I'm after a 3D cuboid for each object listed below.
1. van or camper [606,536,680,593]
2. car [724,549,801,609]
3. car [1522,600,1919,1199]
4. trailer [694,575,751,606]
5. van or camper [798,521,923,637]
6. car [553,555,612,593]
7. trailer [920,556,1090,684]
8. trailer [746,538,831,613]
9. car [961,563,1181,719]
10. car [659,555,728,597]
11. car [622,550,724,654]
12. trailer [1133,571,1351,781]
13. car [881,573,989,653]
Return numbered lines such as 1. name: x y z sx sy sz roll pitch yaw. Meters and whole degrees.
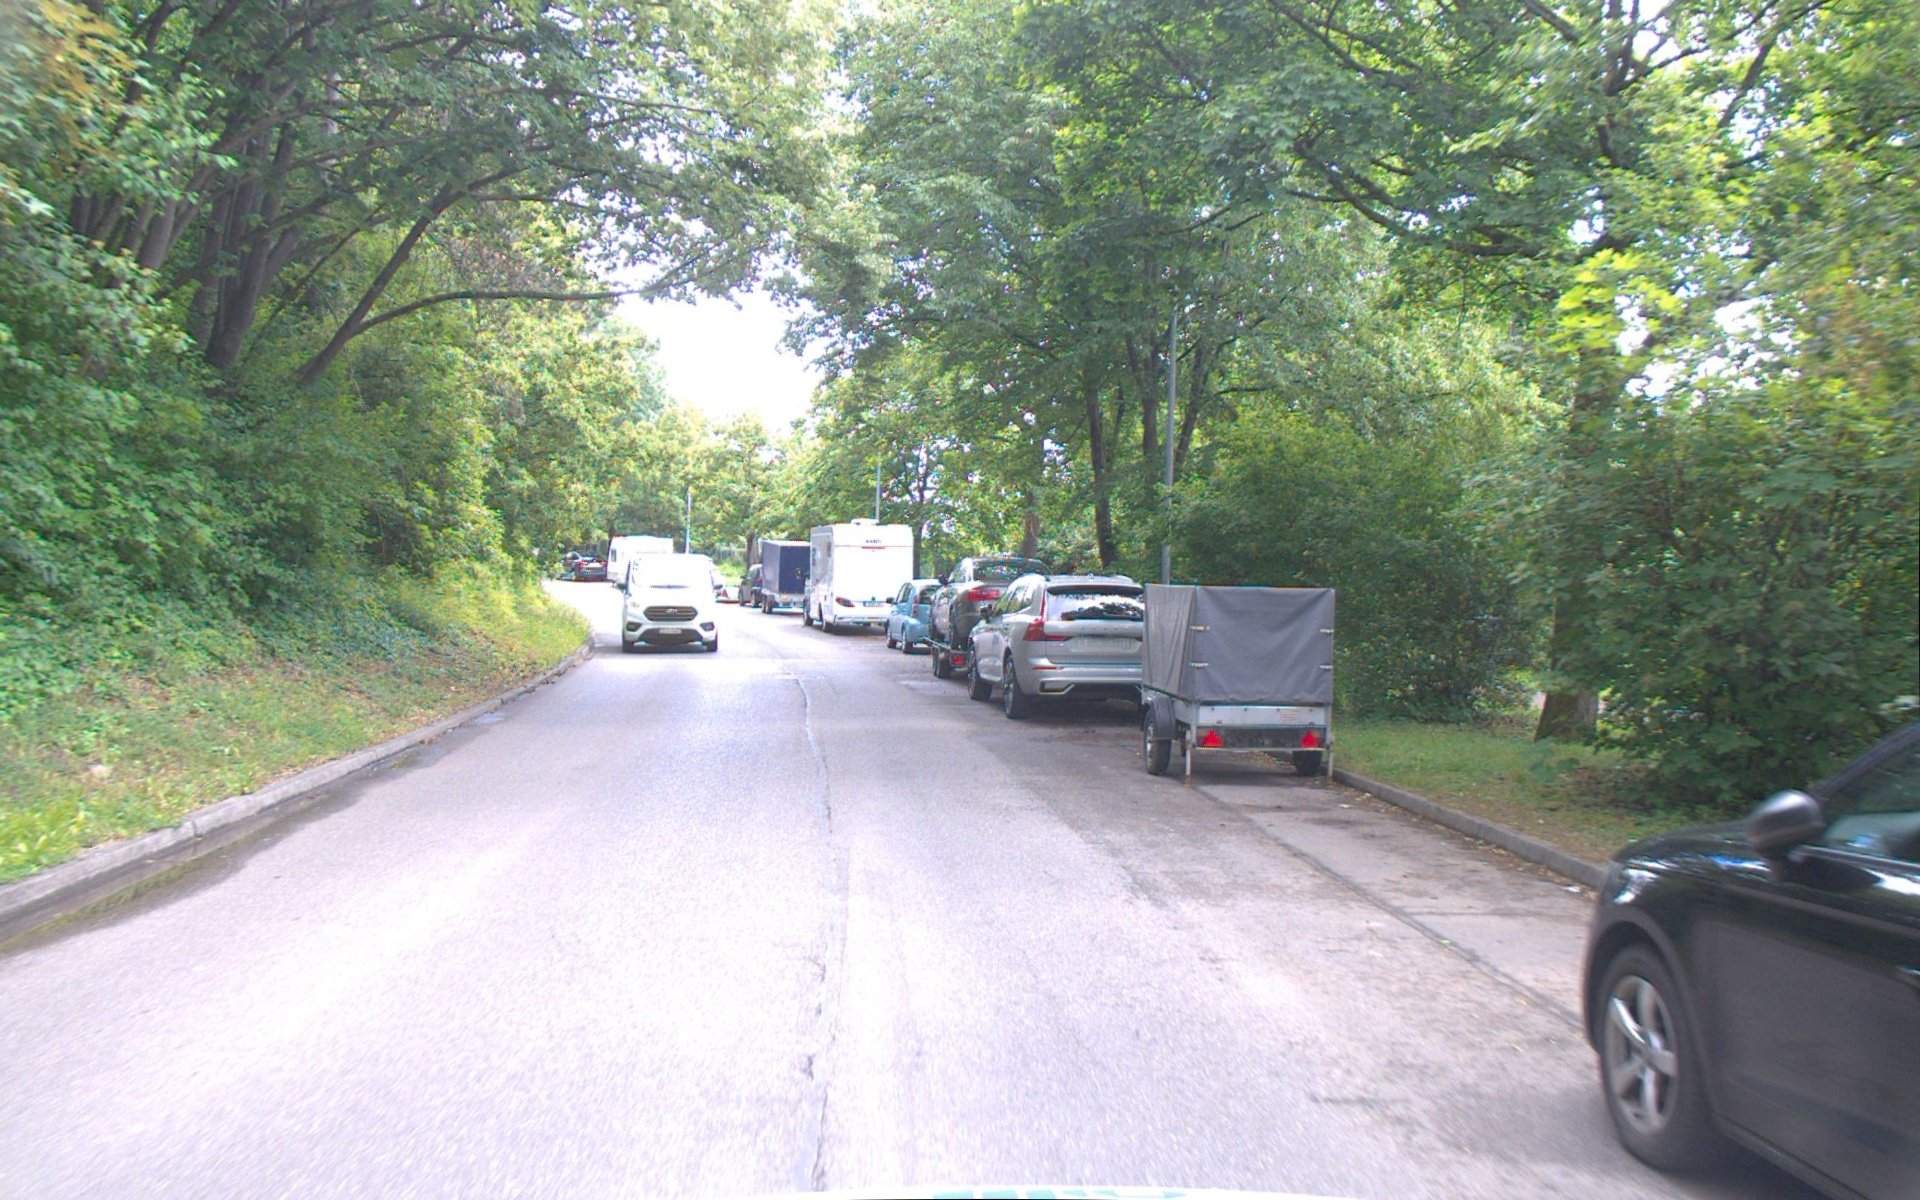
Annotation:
1. van or camper: -15.786 -1.799 82.163 2.497 2.744 4.535 0 2 -27
2. car: -7.405 -0.830 61.824 1.965 2.061 3.977 -2 3 -20
3. car: 2.802 0.775 3.377 1.687 1.478 3.914 2 0 -5
4. trailer: -9.436 -0.384 65.449 1.626 1.105 3.981 -1 2 -17
5. van or camper: -2.893 -0.585 46.145 2.438 2.926 6.869 1 0 -12
6. car: -20.807 -1.460 91.047 1.975 1.901 3.956 -1 3 -33
7. trailer: 0.601 0.235 26.657 1.941 1.843 5.141 1 1 -7
8. trailer: -5.895 -0.832 56.545 1.964 2.440 3.977 1 1 -20
9. car: 1.242 0.489 20.536 1.759 1.699 4.492 1 -1 -9
10. car: -12.011 -1.098 74.363 2.009 1.835 4.051 1 1 -25
11. car: -6.036 0.003 35.202 1.911 2.019 4.494 2 1 -8
12. trailer: 2.350 0.590 14.237 1.253 1.612 2.458 2 0 -5
13. car: -0.604 0.236 35.943 1.767 1.589 3.827 1 1 -10
